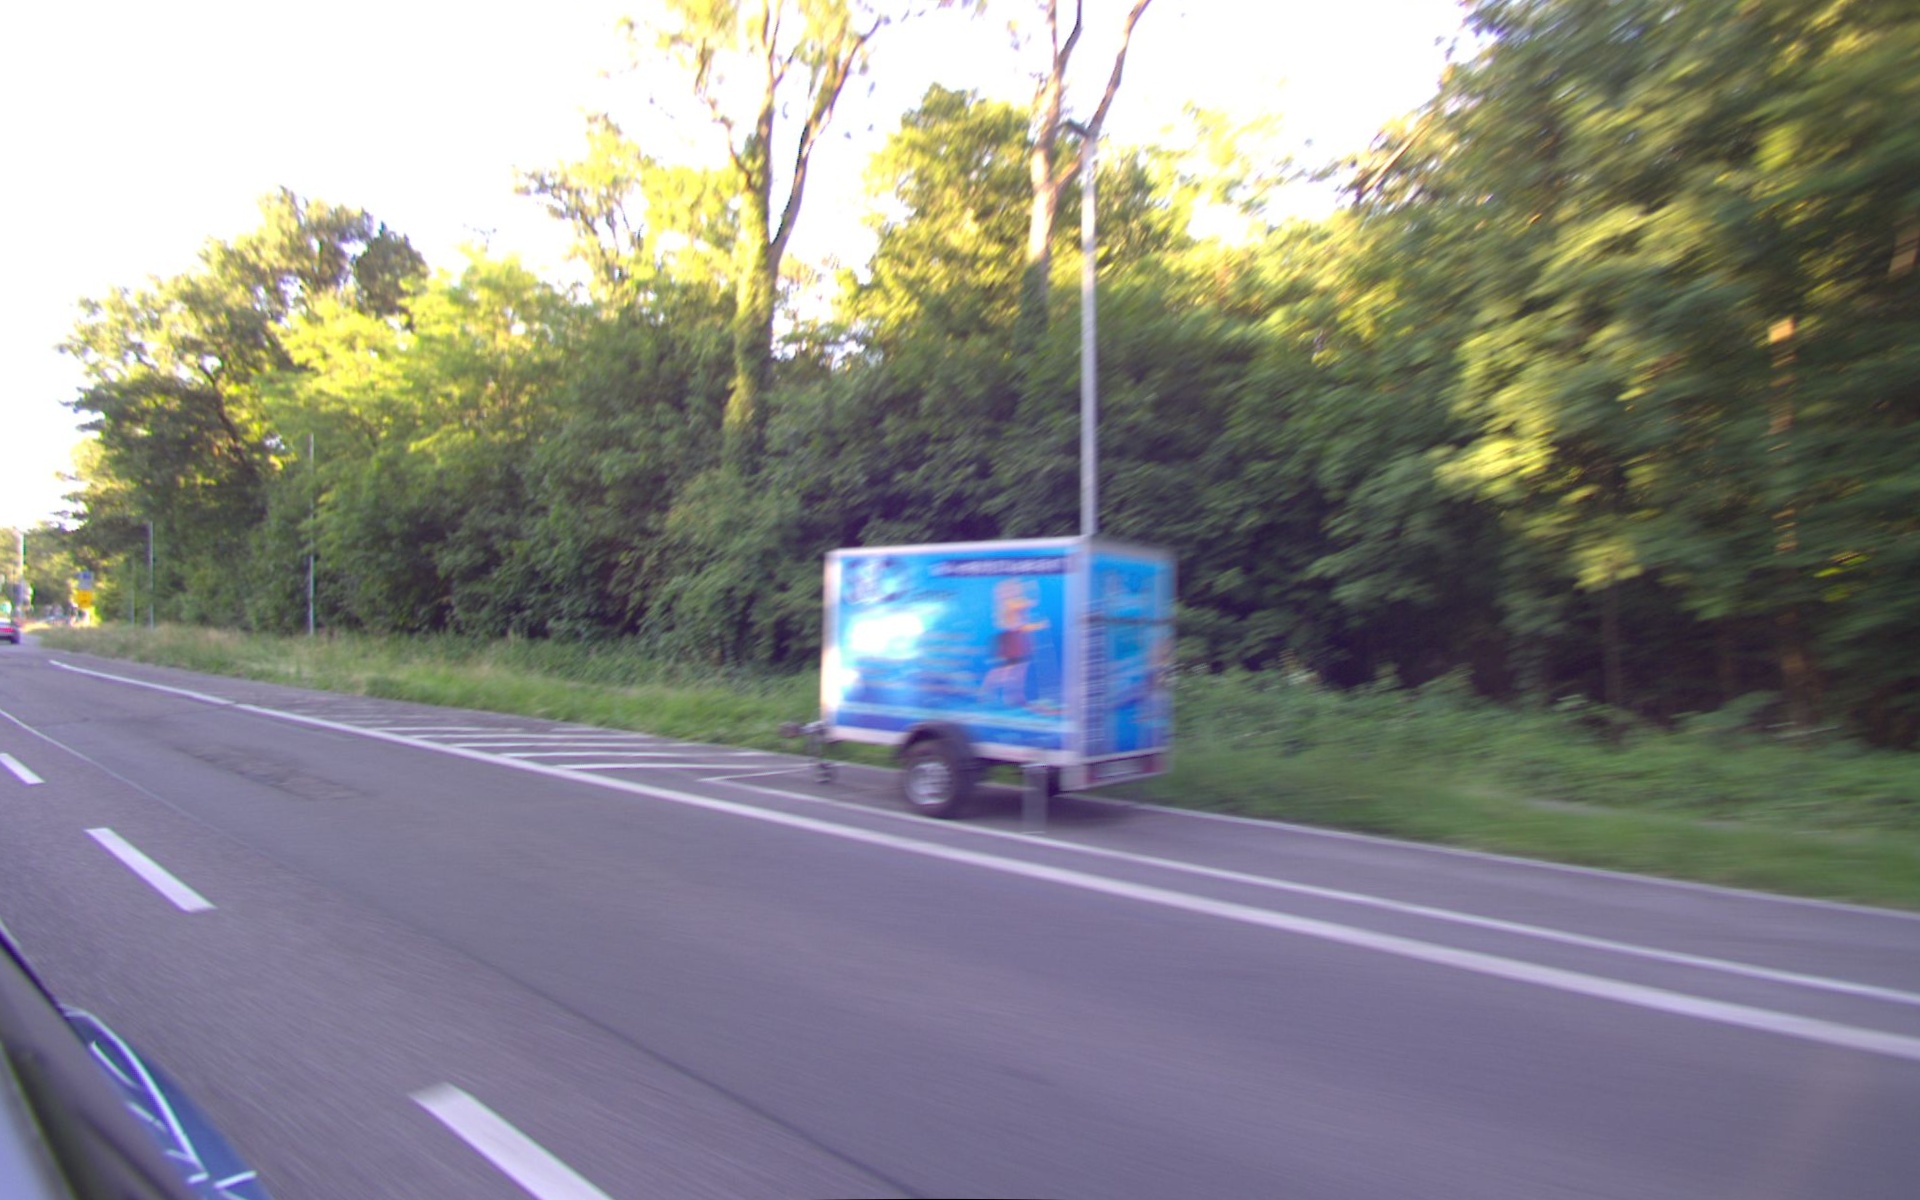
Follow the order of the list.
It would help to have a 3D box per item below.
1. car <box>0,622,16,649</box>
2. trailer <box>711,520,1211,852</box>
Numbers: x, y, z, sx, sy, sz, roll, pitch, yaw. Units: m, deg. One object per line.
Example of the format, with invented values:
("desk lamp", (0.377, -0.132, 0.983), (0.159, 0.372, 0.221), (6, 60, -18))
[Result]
("car", (-56.573, 2.081, 58.925), (4.466, 1.446, 2.041), (-4, -5, 43))
("trailer", (-0.147, 0.625, 8.719), (4.140, 2.184, 1.798), (-1, -3, 40))
